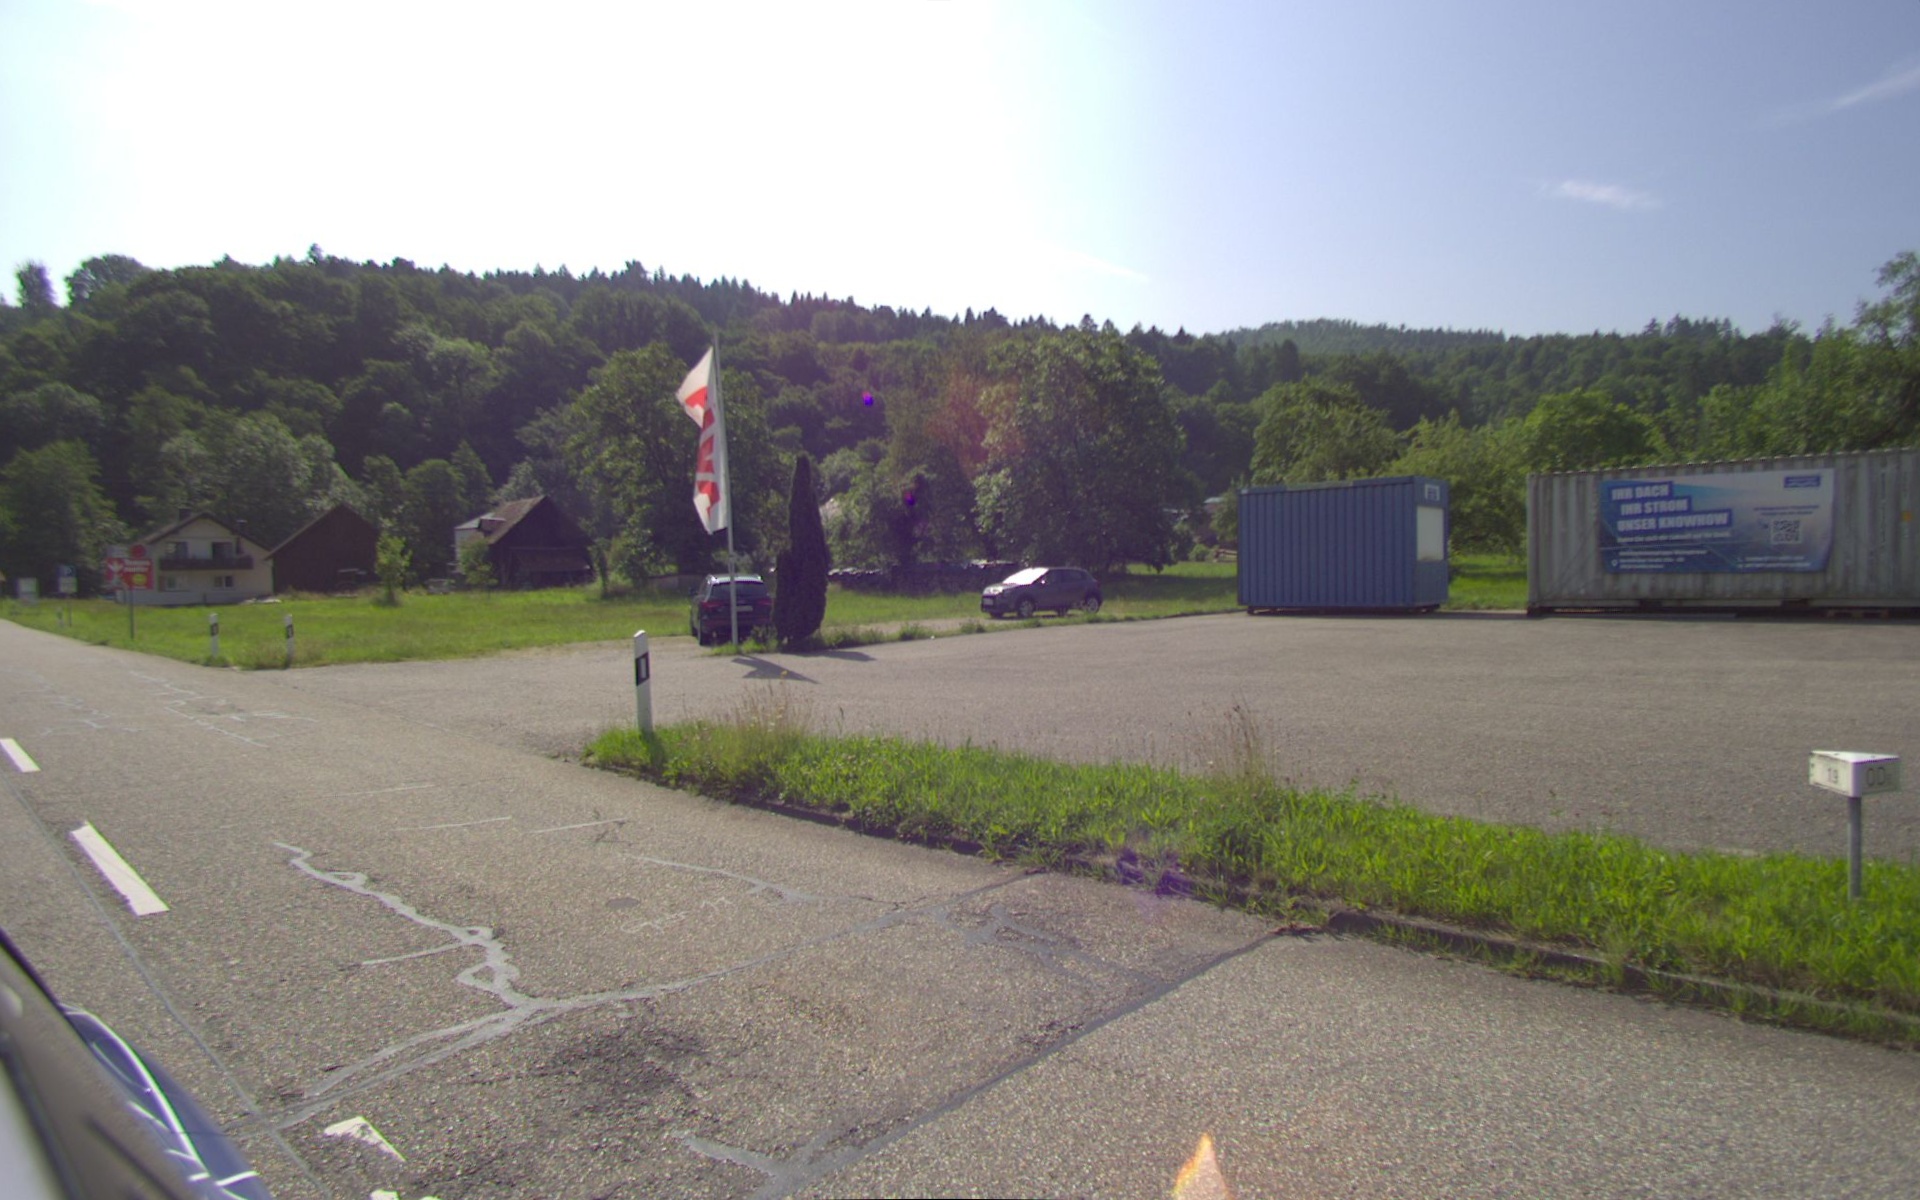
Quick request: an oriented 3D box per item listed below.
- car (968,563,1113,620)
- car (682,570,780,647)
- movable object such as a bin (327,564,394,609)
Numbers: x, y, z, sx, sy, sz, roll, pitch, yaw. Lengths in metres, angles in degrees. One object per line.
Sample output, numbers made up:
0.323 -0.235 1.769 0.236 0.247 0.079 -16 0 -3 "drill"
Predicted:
2.429 -0.268 30.599 3.865 1.496 1.924 -3 2 -26 "car"
-5.880 0.151 25.559 1.805 1.661 4.924 -3 2 -19 "car"
-44.727 -1.046 75.517 4.123 3.160 2.209 -3 2 -33 "movable object such as a bin"
